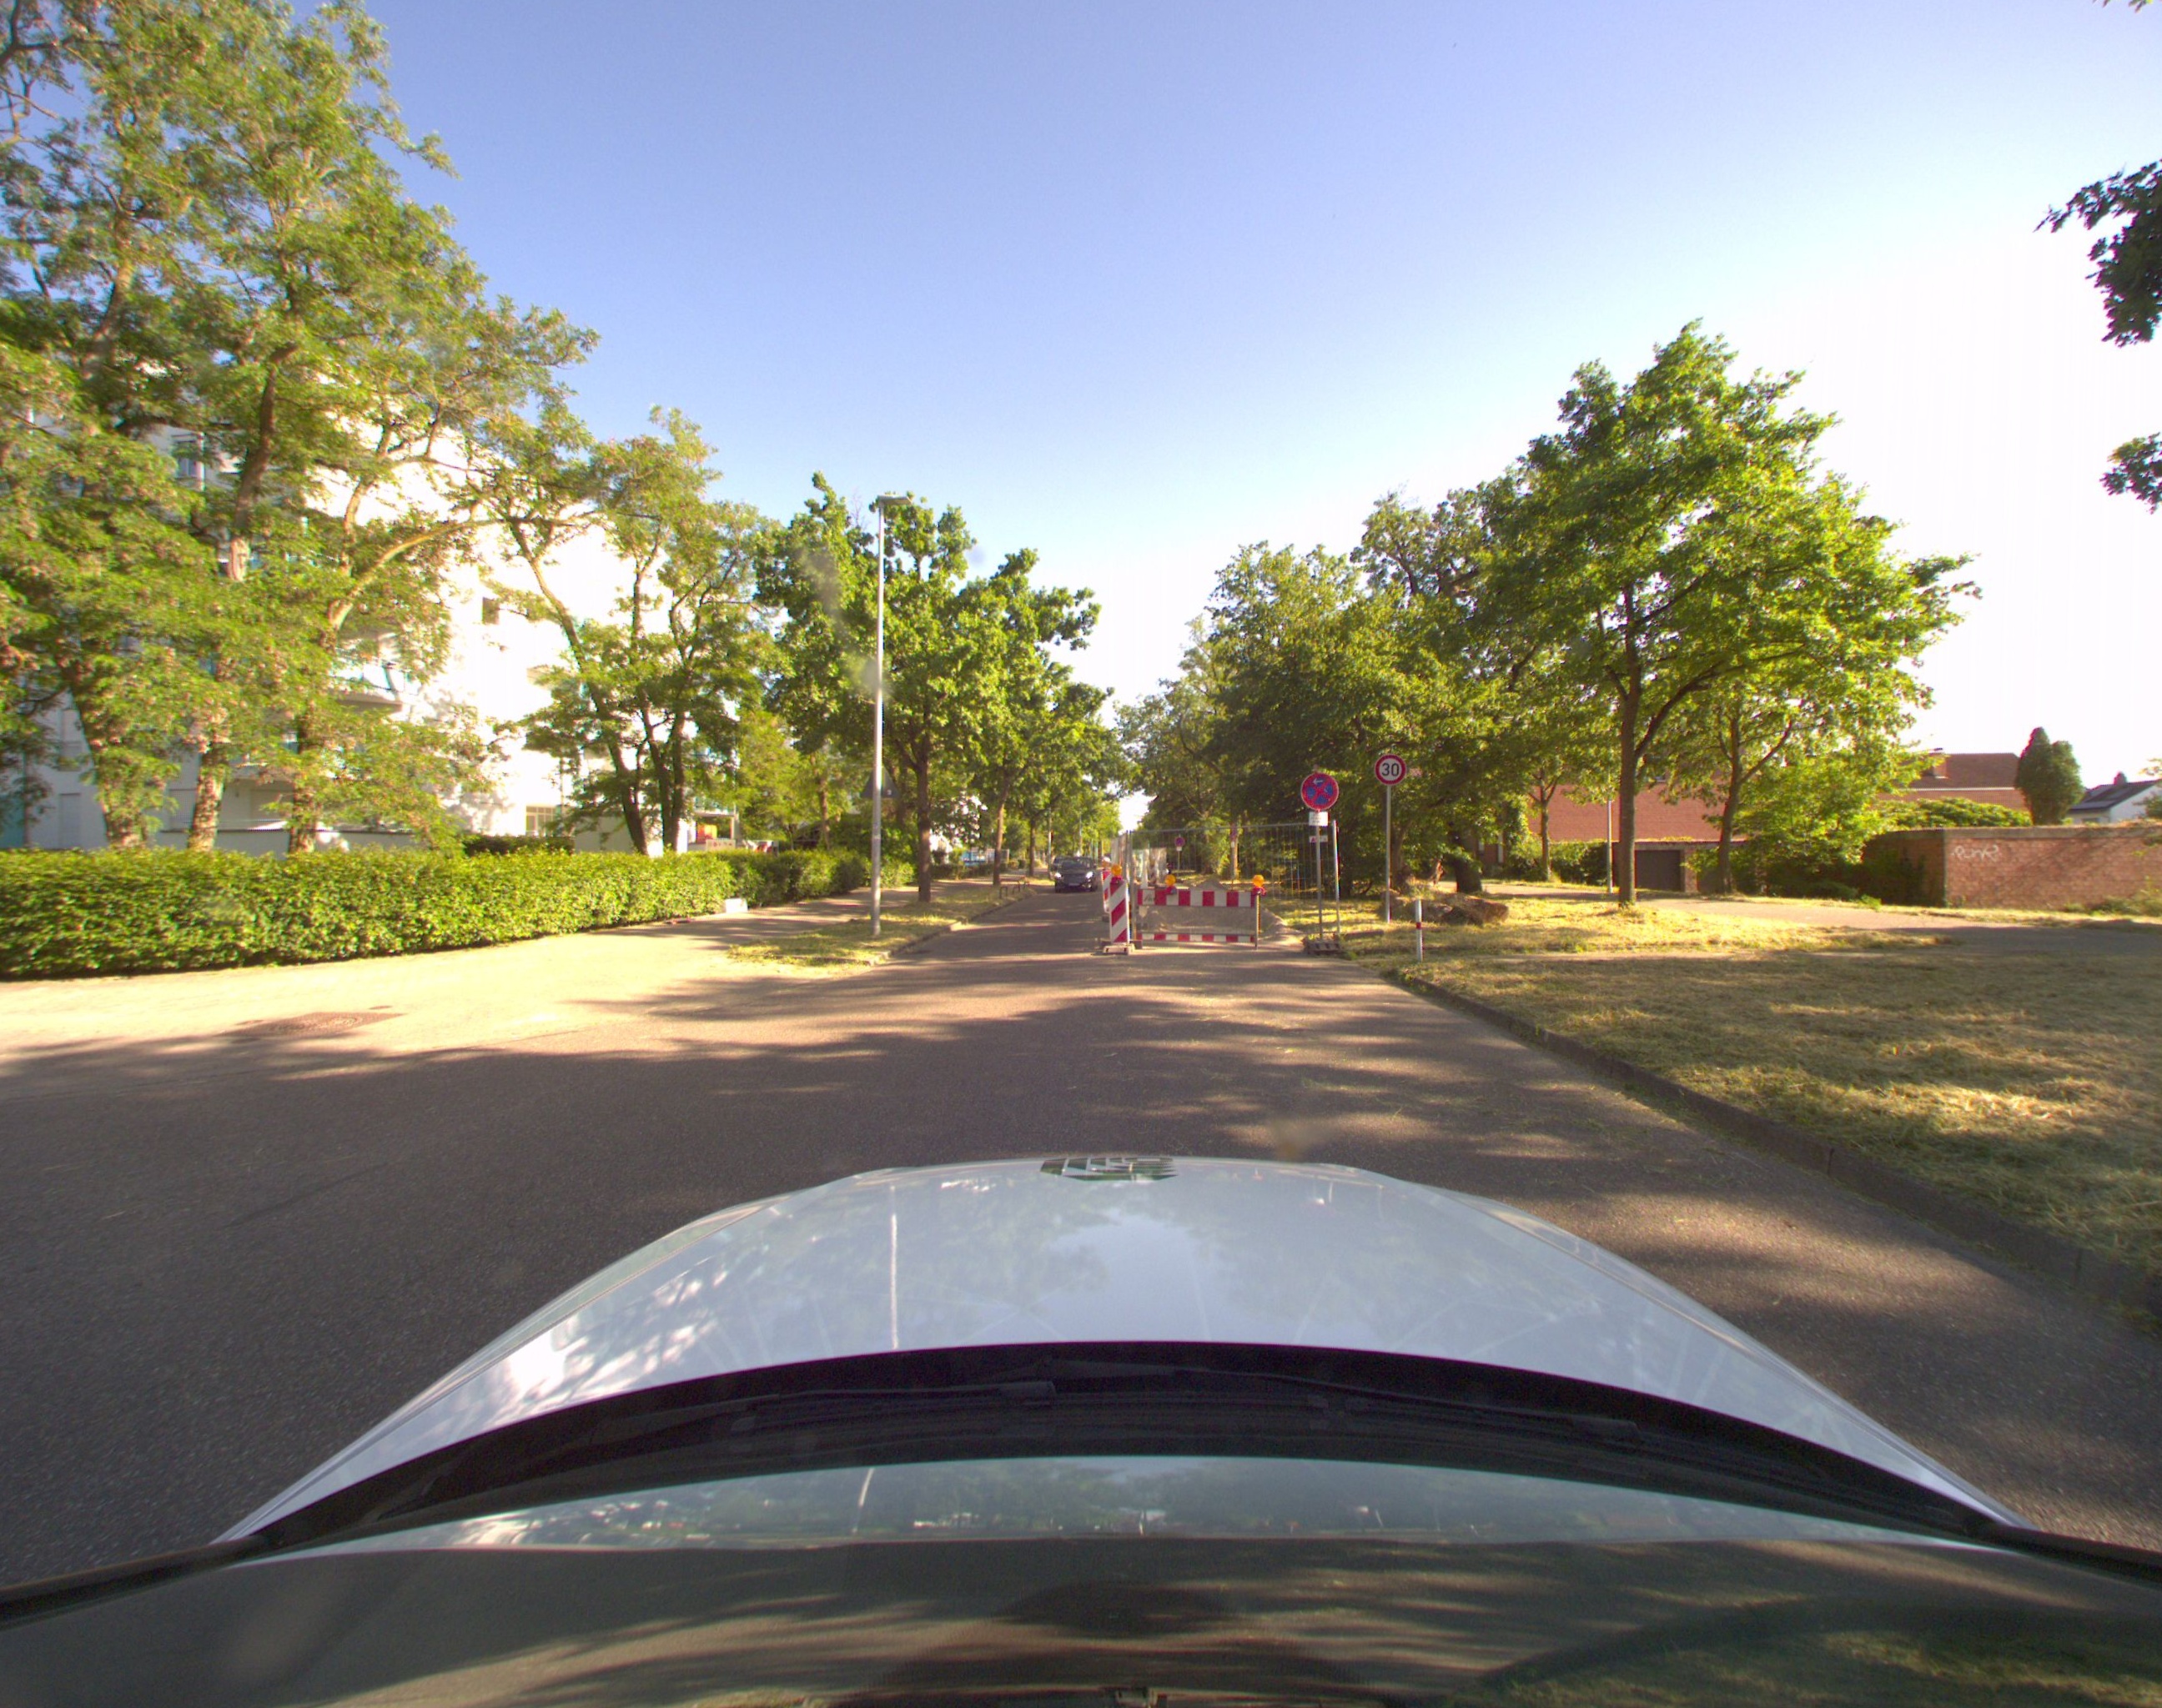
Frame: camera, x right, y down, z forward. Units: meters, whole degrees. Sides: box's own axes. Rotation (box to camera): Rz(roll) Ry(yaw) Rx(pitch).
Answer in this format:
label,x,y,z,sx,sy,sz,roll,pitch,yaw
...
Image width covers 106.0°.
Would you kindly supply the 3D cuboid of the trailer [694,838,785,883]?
label,x,y,z,sx,sy,sz,roll,pitch,yaw
trailer,-16.407,0.310,39.407,1.964,2.042,4.442,0,0,10
